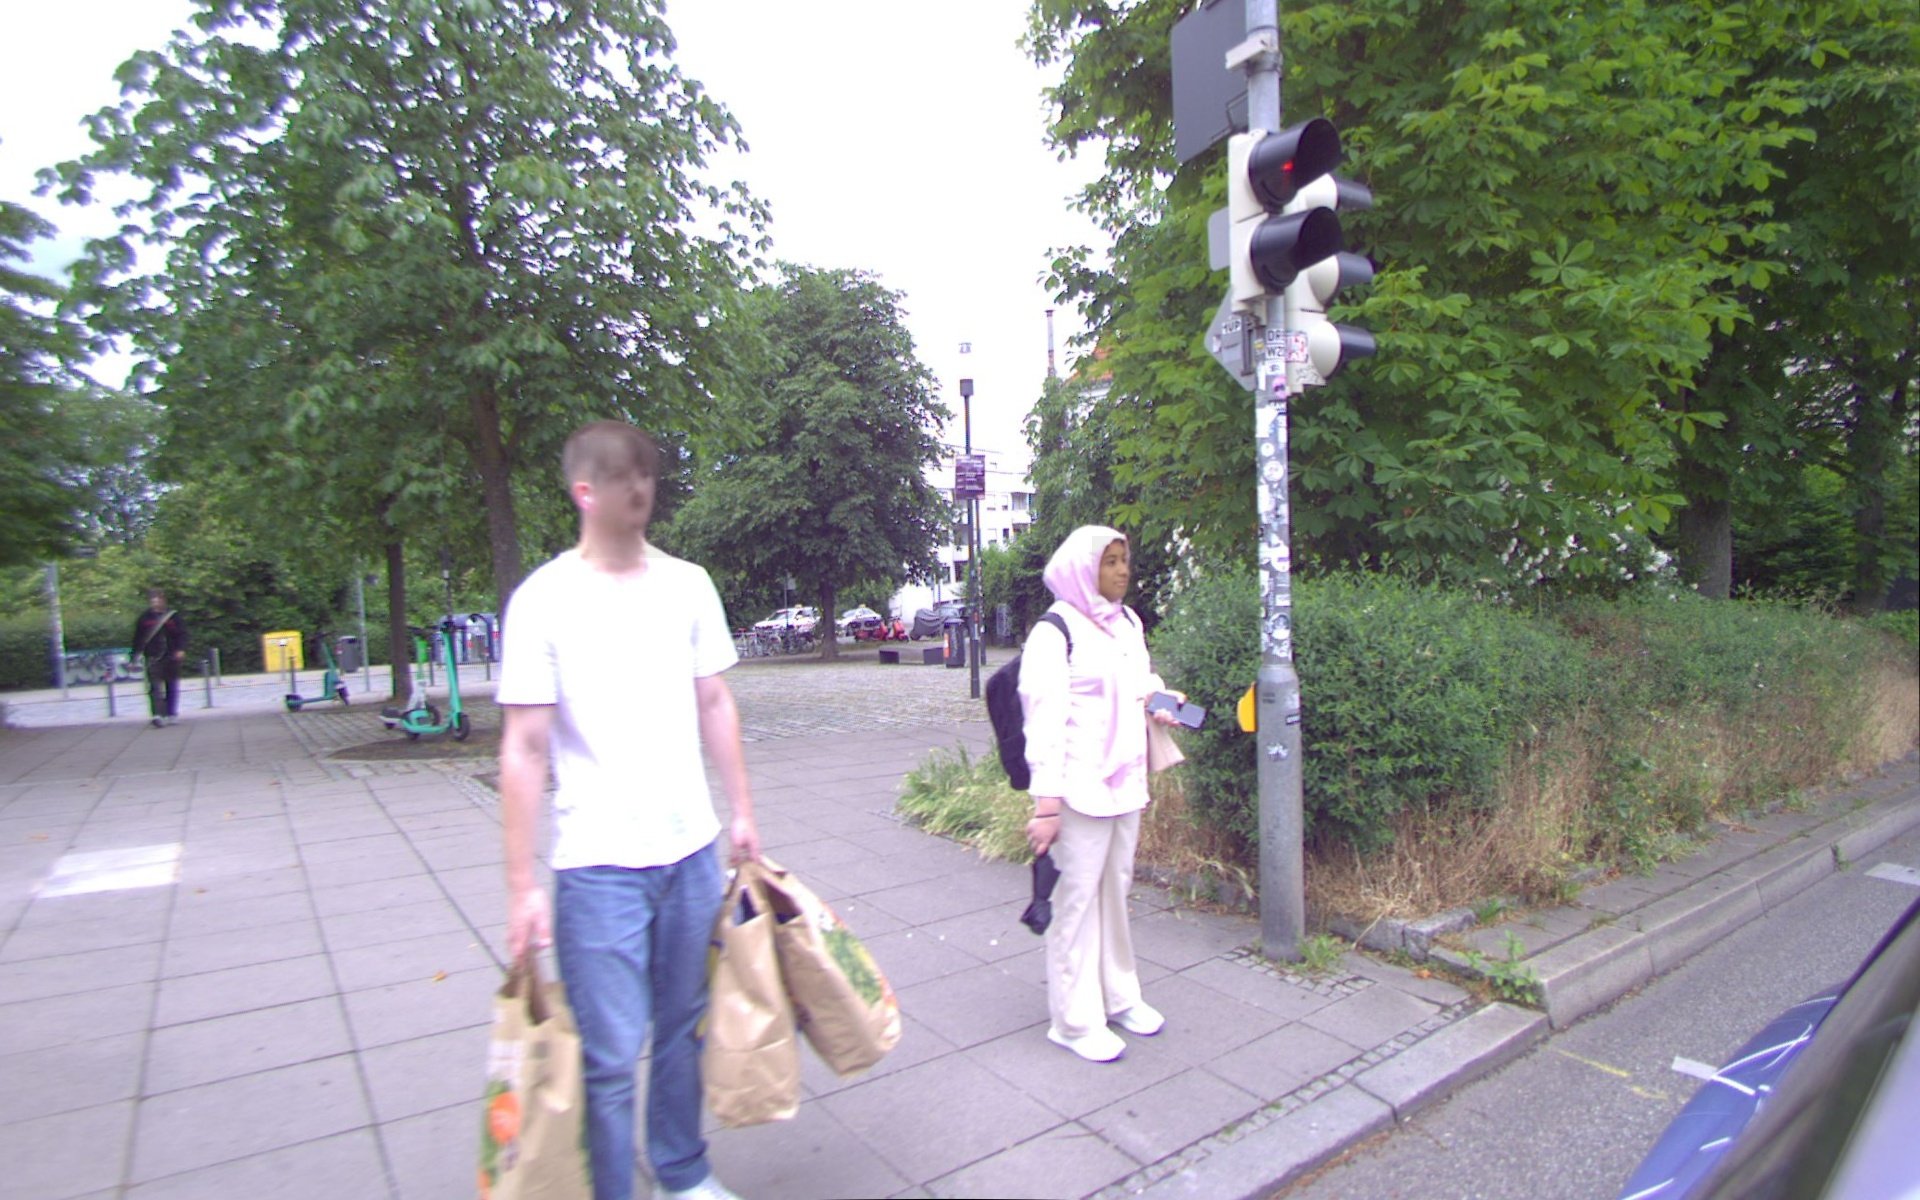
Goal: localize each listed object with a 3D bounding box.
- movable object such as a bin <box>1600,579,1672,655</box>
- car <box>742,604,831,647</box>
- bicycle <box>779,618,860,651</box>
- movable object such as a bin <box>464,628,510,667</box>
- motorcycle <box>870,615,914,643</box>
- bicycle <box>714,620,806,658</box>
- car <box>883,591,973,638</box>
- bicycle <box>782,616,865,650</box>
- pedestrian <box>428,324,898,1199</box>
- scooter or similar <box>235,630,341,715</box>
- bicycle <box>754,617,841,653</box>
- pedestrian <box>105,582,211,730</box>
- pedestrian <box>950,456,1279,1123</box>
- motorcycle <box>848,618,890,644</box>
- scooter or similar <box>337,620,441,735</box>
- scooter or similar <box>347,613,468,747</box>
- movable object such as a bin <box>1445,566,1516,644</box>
[{"bbox_3d":[14.221,0.335,21.318,0.797,1.505,1.077,2,2,7],"label":"movable object such as a bin"},{"bbox_3d":[-8.366,1.209,49.137,1.978,1.928,4.675,-2,0,24],"label":"car"},{"bbox_3d":[-5.322,1.301,38.342,2.893,1.160,0.925,-1,-1,-22],"label":"bicycle"},{"bbox_3d":[-15.269,1.509,32.646,1.288,1.180,1.063,-1,-1,-29],"label":"movable object such as a bin"},{"bbox_3d":[-2.786,1.178,41.637,0.749,1.046,2.031,-1,0,32],"label":"motorcycle"},{"bbox_3d":[-6.741,1.296,34.112,2.893,1.160,0.925,-1,-1,-22],"label":"bicycle"},{"bbox_3d":[-1.426,0.637,45.977,3.729,2.039,1.993,-1,0,12],"label":"car"},{"bbox_3d":[-5.011,1.188,37.278,2.893,1.160,0.925,-1,-1,-22],"label":"bicycle"},{"bbox_3d":[-0.602,0.441,1.981,0.713,1.733,0.617,0,2,-33],"label":"pedestrian"},{"bbox_3d":[-10.648,1.137,16.069,1.292,1.264,0.465,-2,-1,-15],"label":"scooter or similar"},{"bbox_3d":[-5.747,1.221,35.887,2.893,1.160,0.925,-1,-1,-22],"label":"bicycle"},{"bbox_3d":[-10.853,0.730,13.734,0.839,1.910,0.967,-1,-1,-19],"label":"pedestrian"},{"bbox_3d":[0.454,0.483,3.069,0.713,1.733,0.617,0,2,-33],"label":"pedestrian"},{"bbox_3d":[-3.736,1.269,41.886,0.748,1.046,2.035,-1,0,28],"label":"motorcycle"},{"bbox_3d":[-6.556,0.871,11.602,1.238,1.242,0.495,-3,-2,32],"label":"scooter or similar"},{"bbox_3d":[-5.478,0.776,10.011,1.238,1.242,0.495,-3,-2,32],"label":"scooter or similar"},{"bbox_3d":[10.579,0.100,20.609,1.185,1.555,0.838,0,0,21],"label":"movable object such as a bin"}]
